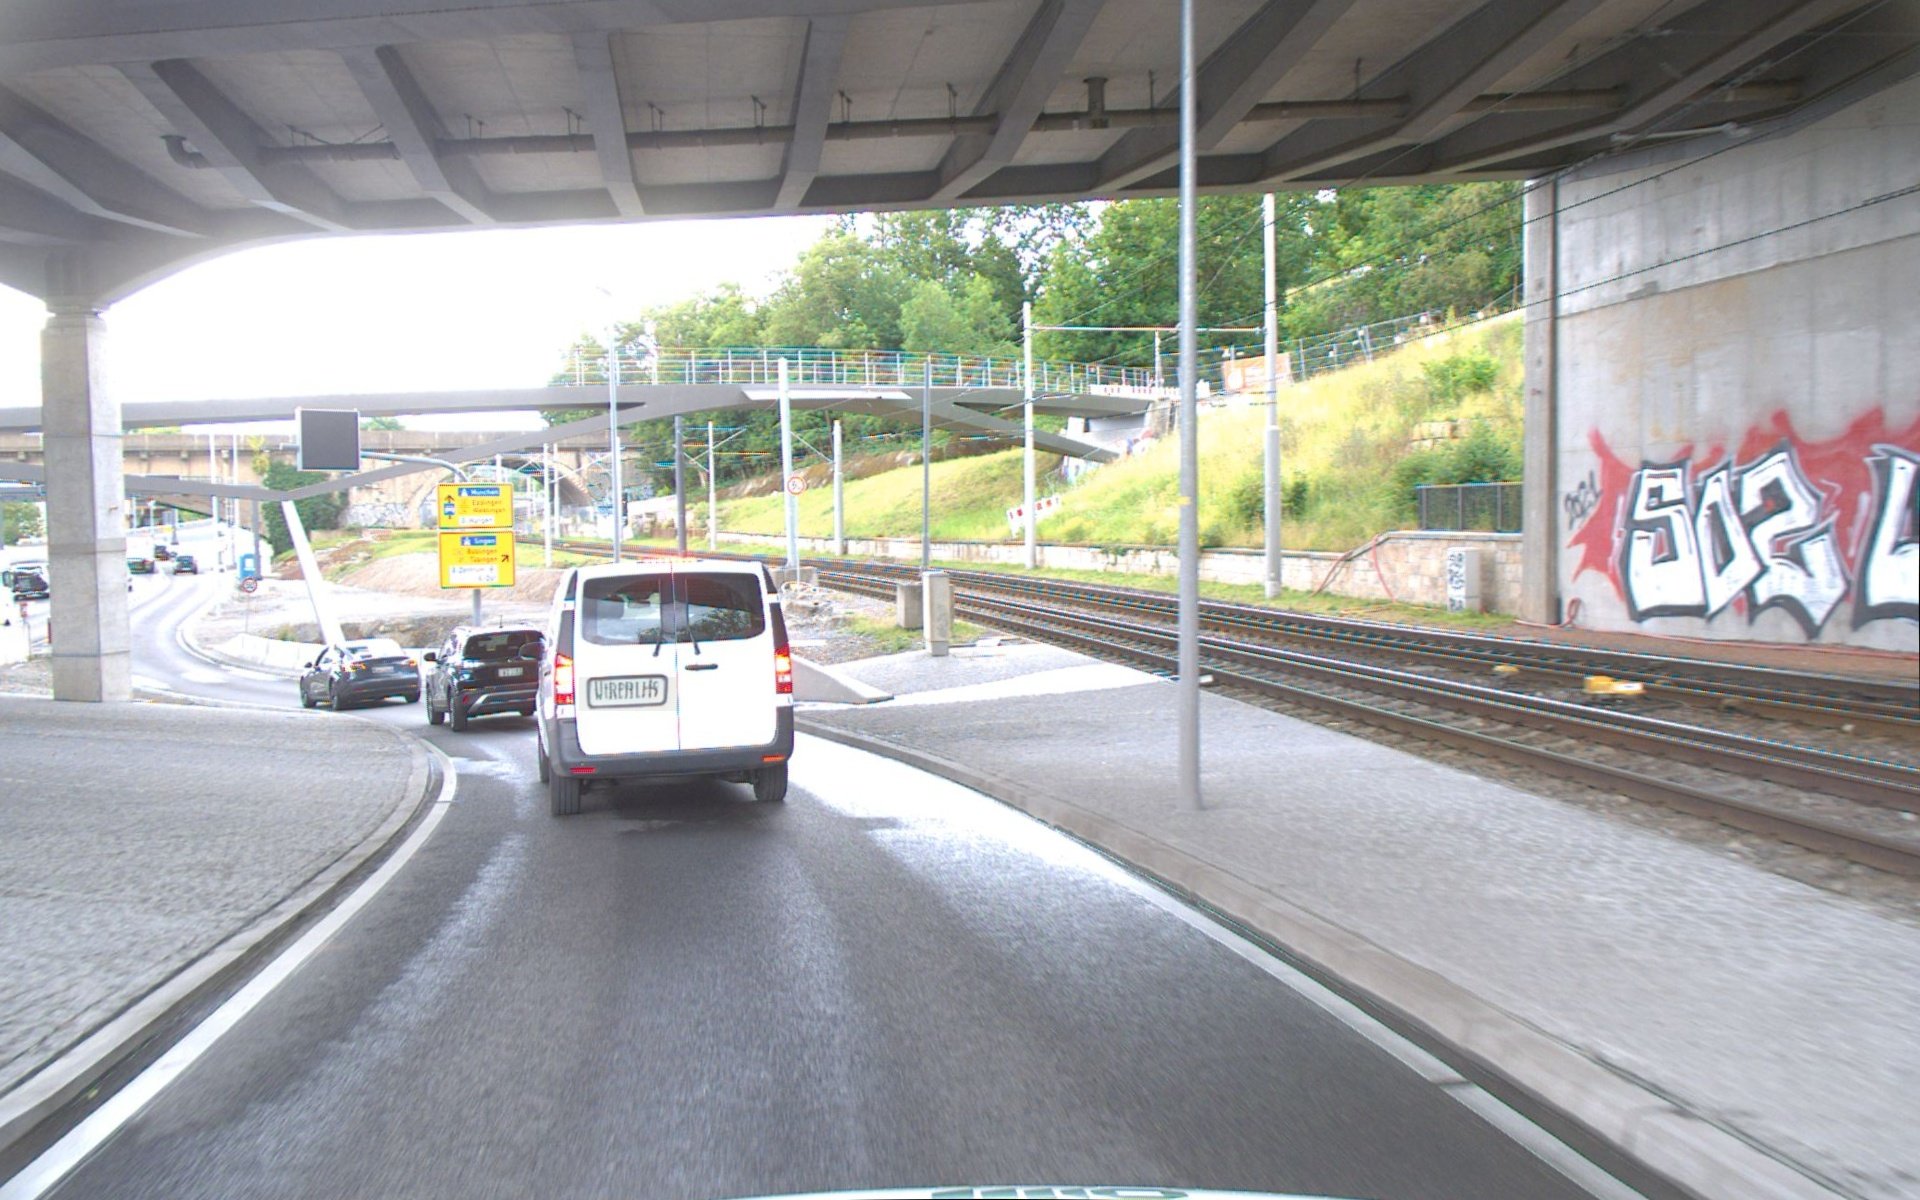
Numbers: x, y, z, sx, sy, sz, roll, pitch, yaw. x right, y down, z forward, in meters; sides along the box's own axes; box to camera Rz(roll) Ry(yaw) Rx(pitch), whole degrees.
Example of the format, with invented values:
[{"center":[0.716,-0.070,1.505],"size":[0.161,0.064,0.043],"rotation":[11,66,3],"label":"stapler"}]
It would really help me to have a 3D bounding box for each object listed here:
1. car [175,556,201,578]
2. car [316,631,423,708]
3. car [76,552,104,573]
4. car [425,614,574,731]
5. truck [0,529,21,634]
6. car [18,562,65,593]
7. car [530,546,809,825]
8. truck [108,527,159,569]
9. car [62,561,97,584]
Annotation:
[{"center":[-58.998,-2.505,126.392],"size":[1.602,1.612,3.972],"rotation":[-1,1,-23],"label":"car"},{"center":[-13.169,1.505,36.798],"size":[1.487,1.494,3.360],"rotation":[-2,1,-33],"label":"car"},{"center":[-69.254,-2.948,131.717],"size":[1.602,1.612,3.972],"rotation":[-1,1,-23],"label":"car"},{"center":[-7.592,1.109,27.040],"size":[1.727,1.653,3.814],"rotation":[-2,1,-25],"label":"car"},{"center":[-35.631,-0.407,55.999],"size":[3.265,3.875,16.515],"rotation":[0,3,-18],"label":"truck"},{"center":[-50.570,-1.250,91.106],"size":[1.621,1.648,3.976],"rotation":[-1,1,-20],"label":"car"},{"center":[-2.670,0.640,14.249],"size":[1.846,1.924,4.732],"rotation":[-2,-1,-16],"label":"car"},{"center":[-68.807,-4.275,137.800],"size":[3.349,3.204,7.202],"rotation":[1,0,-24],"label":"truck"},{"center":[-58.807,-1.839,110.495],"size":[1.507,1.535,3.977],"rotation":[-1,1,-20],"label":"car"}]
